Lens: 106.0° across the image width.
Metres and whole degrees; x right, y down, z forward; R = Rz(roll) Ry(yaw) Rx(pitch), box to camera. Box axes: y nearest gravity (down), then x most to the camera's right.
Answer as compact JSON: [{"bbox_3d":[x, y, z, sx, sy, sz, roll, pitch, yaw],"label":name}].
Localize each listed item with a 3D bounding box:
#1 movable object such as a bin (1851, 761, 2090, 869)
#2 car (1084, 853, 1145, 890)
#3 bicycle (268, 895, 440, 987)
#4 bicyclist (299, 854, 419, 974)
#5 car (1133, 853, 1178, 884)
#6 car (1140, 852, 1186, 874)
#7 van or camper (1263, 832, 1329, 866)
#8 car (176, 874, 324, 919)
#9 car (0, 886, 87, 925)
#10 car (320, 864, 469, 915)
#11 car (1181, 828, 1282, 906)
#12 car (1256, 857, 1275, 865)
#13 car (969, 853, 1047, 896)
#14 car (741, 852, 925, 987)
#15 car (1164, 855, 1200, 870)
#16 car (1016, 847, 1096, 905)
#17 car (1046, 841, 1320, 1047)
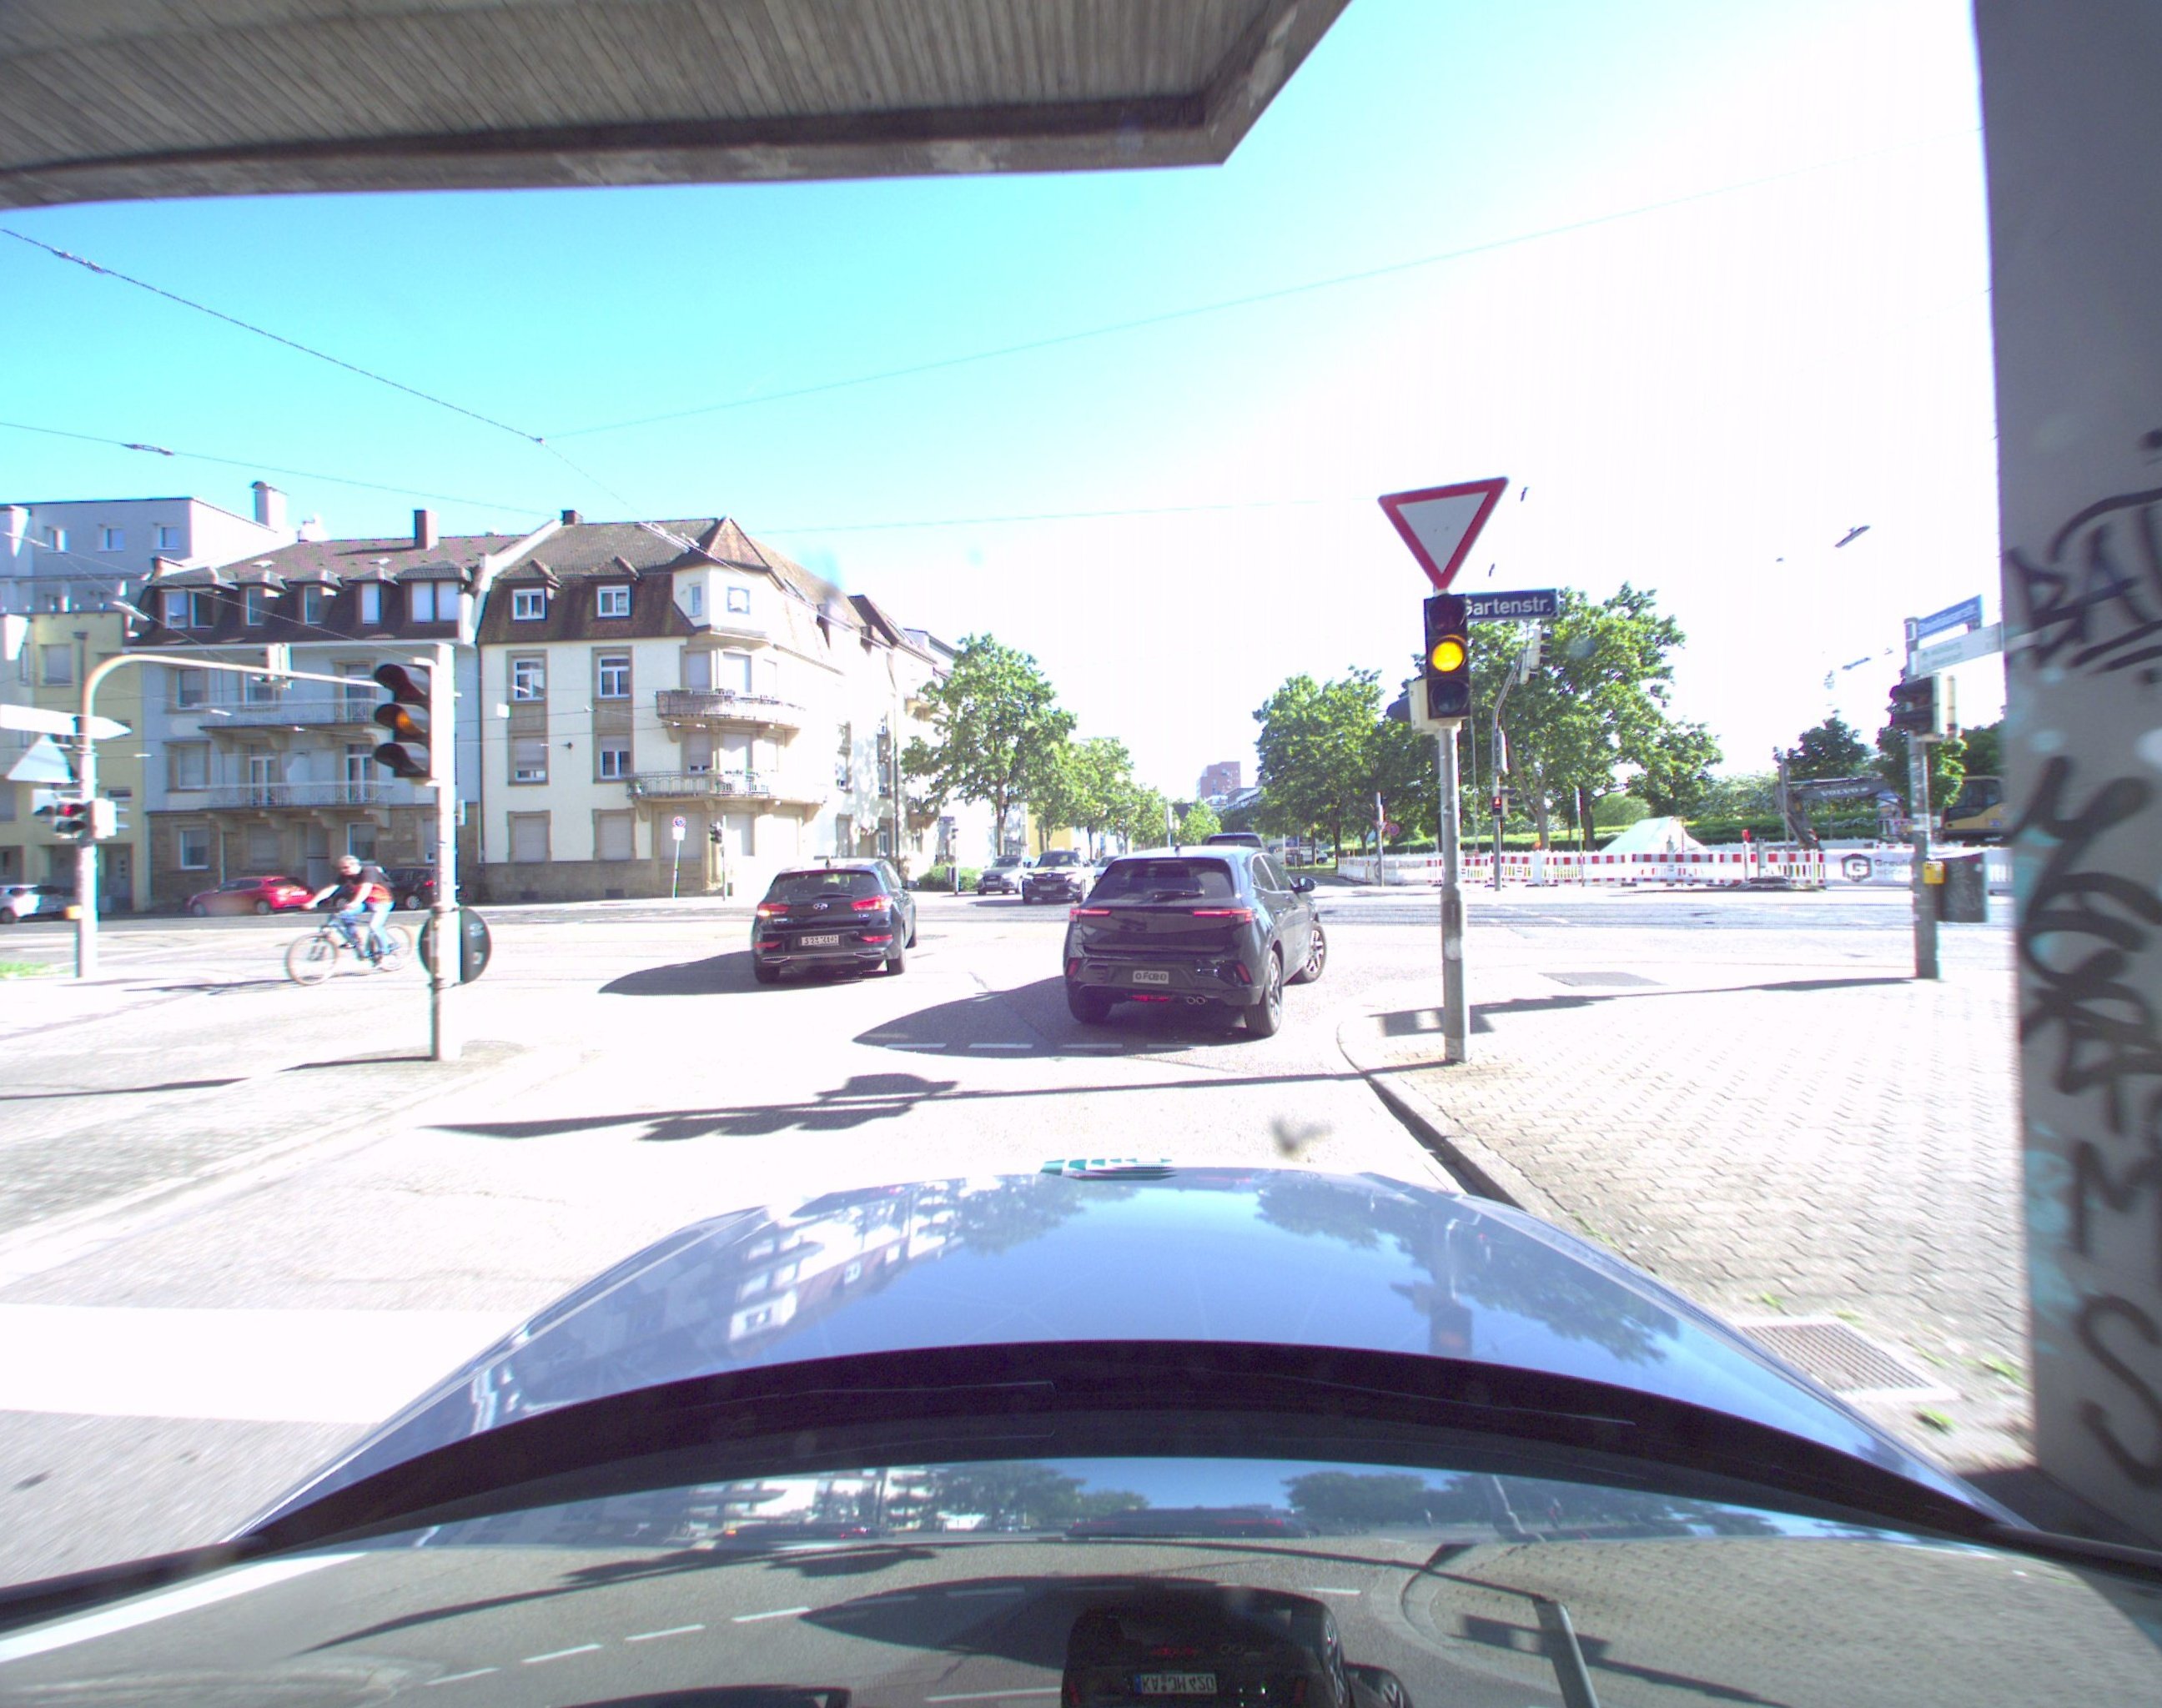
[{"bbox_3d":[29.815,-1.217,27.551,4.663,3.363,2.845,-1,-1,12],"label":"movable object such as a bin"},{"bbox_3d":[1.482,0.702,34.518,1.695,1.452,3.866,-2,0,15],"label":"car"},{"bbox_3d":[-10.596,1.225,11.983,0.539,1.123,2.061,-2,0,4],"label":"bicycle"},{"bbox_3d":[-10.610,0.847,12.003,0.778,1.660,1.032,-2,0,3],"label":"bicyclist"},{"bbox_3d":[4.064,0.756,44.044,1.692,1.512,3.878,-4,-1,15],"label":"car"},{"bbox_3d":[10.239,1.155,101.673,5.265,2.545,1.977,-2,-1,-12],"label":"car"},{"bbox_3d":[21.475,-0.473,81.638,6.038,2.929,2.584,-4,-1,12],"label":"van or camper"},{"bbox_3d":[-32.420,1.643,31.844,3.862,1.540,1.901,-2,1,3],"label":"car"},{"bbox_3d":[-42.099,2.032,31.966,3.812,1.362,2.002,-2,1,4],"label":"car"},{"bbox_3d":[-26.625,1.359,31.679,4.142,1.724,1.964,-2,1,3],"label":"car"},{"bbox_3d":[4.250,0.318,22.309,2.116,1.835,4.962,-2,0,17],"label":"car"},{"bbox_3d":[33.570,1.213,148.227,3.222,1.277,1.521,-4,-1,12],"label":"car"},{"bbox_3d":[-2.929,0.800,33.502,1.871,1.610,4.164,-2,0,14],"label":"car"},{"bbox_3d":[-3.245,0.741,11.511,1.800,1.451,4.314,-2,1,-8],"label":"car"},{"bbox_3d":[14.837,1.244,119.347,4.903,2.083,1.971,-2,-1,-22],"label":"car"},{"bbox_3d":[-0.638,0.604,24.306,1.779,1.513,4.123,-2,0,6],"label":"car"},{"bbox_3d":[1.250,0.669,8.079,1.766,1.517,3.775,-1,0,22],"label":"car"}]
